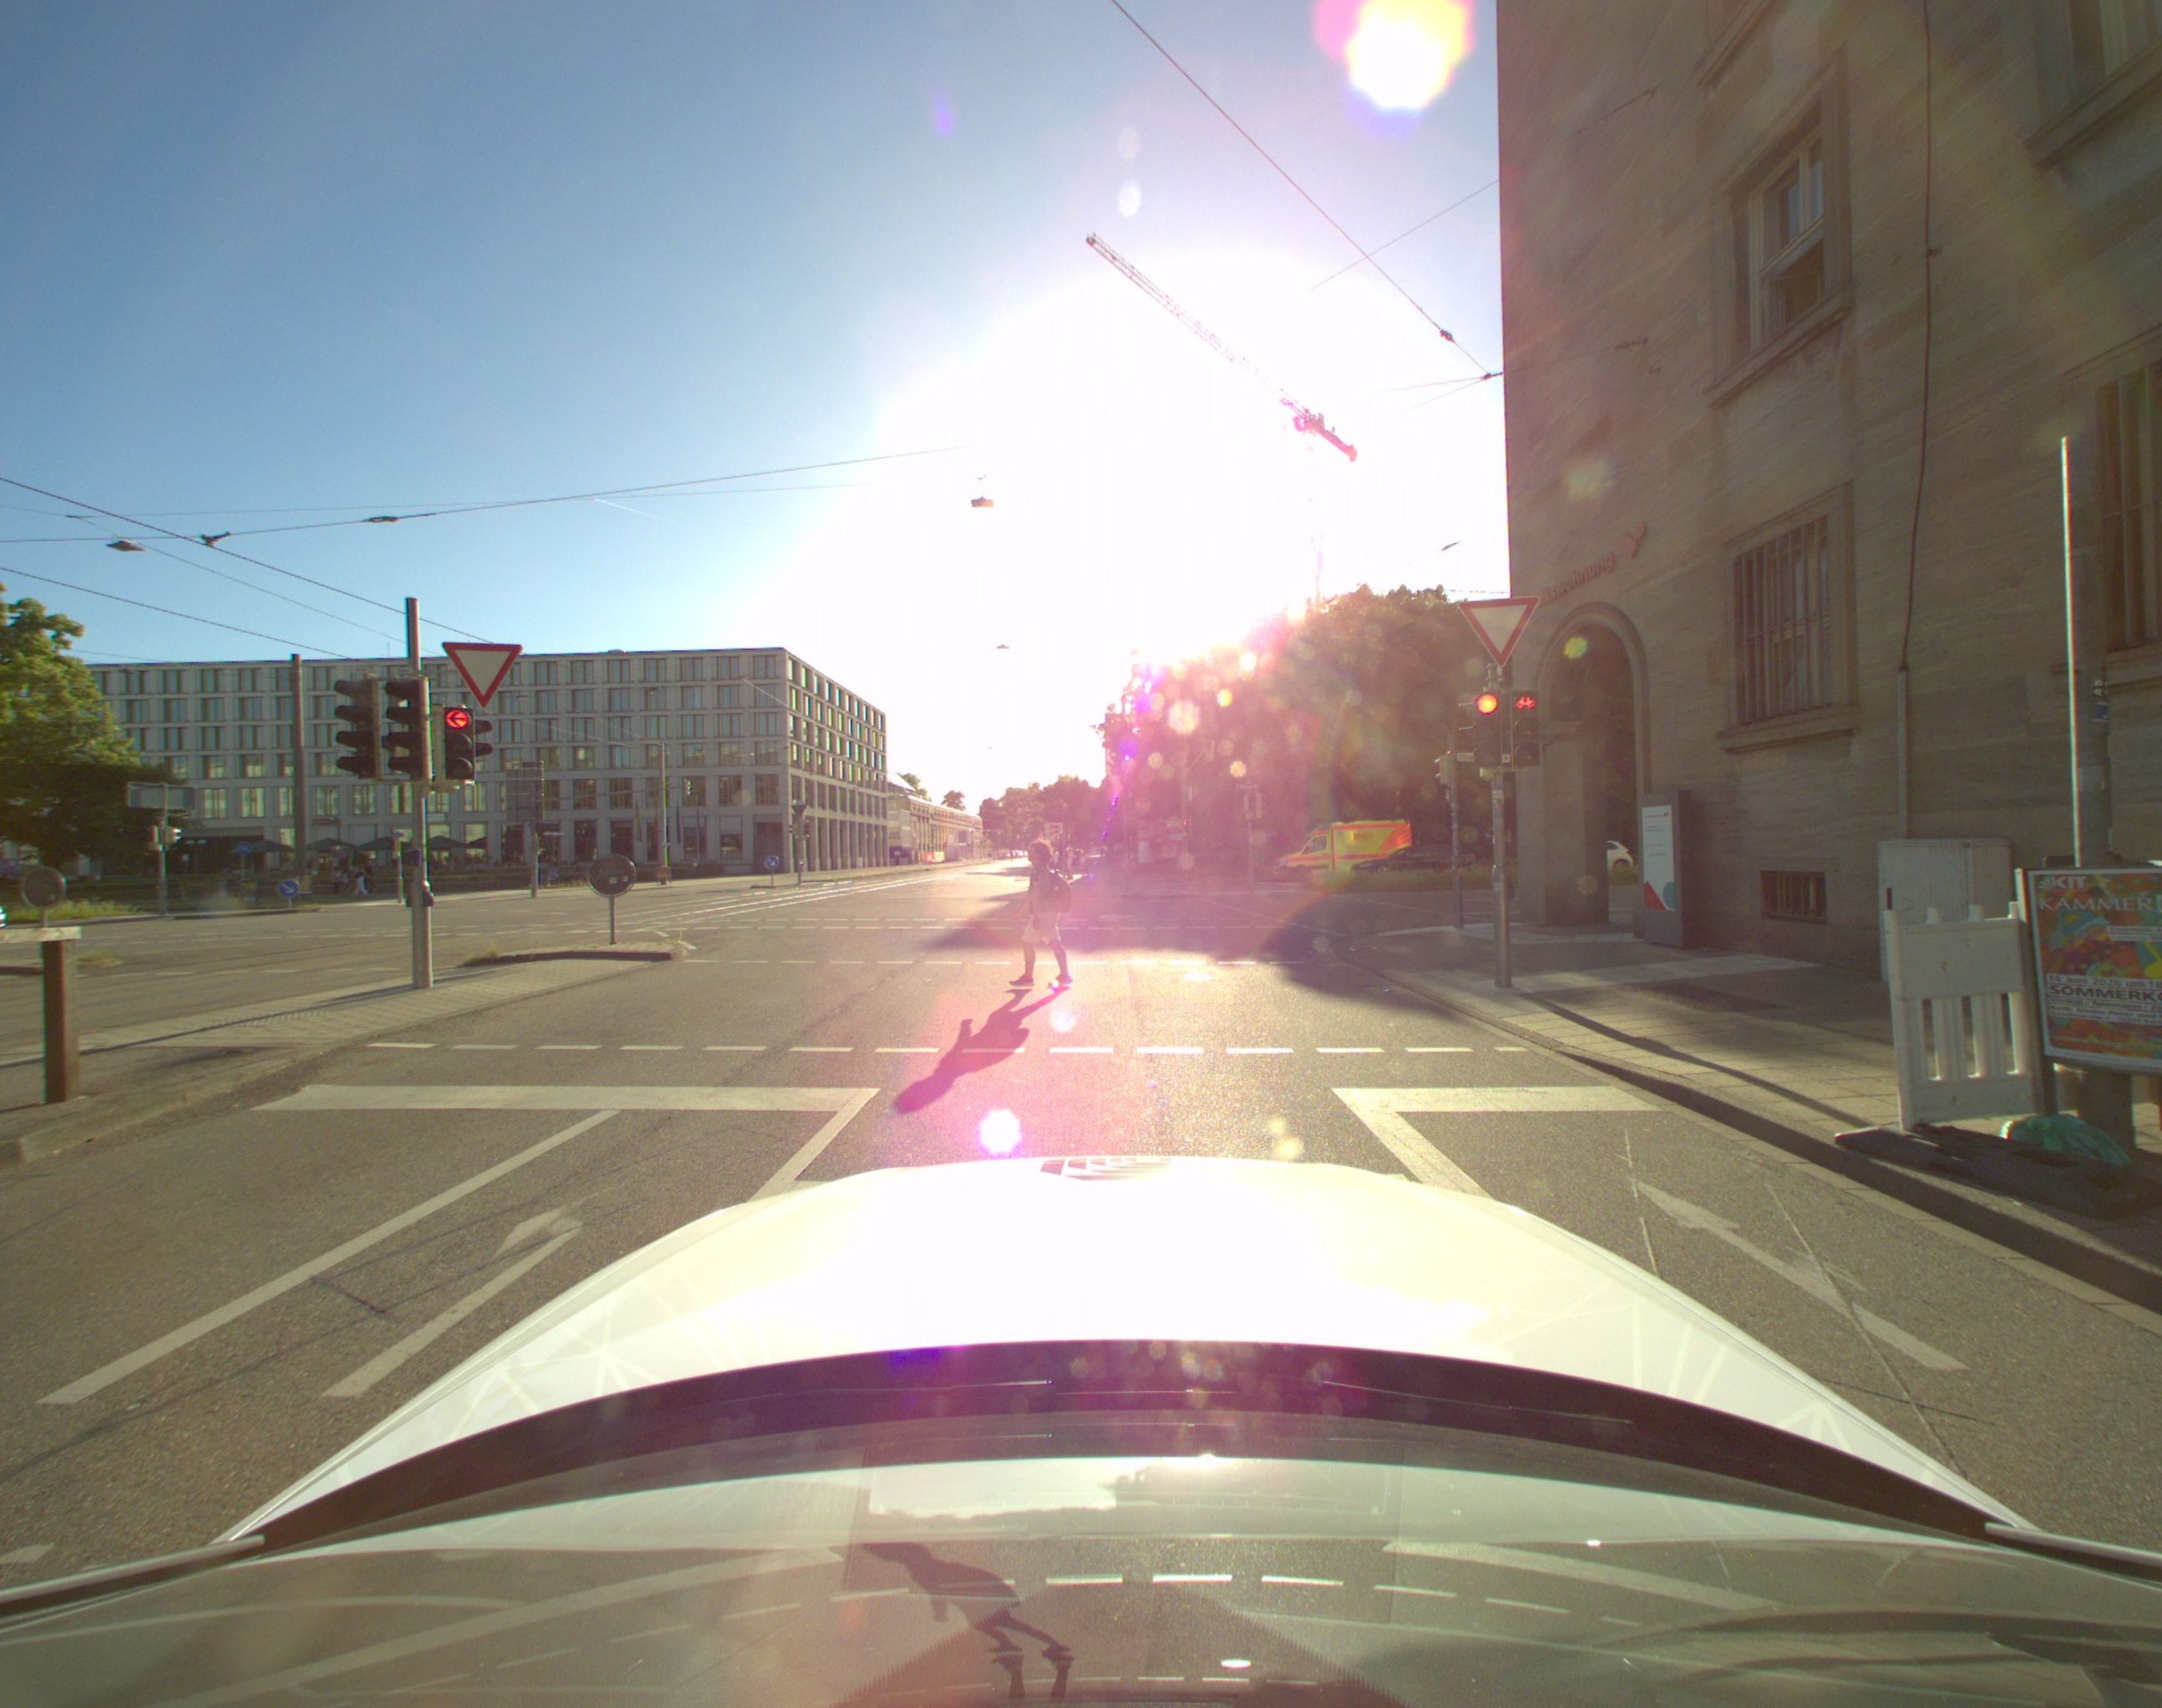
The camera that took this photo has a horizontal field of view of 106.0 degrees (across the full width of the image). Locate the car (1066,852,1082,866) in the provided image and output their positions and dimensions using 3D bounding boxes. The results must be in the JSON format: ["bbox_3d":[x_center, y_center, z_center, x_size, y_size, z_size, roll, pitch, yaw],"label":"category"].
[{"bbox_3d":[-0.802,0.581,92.369,1.678,1.501,3.510,0,-1,2],"label":"car"}]

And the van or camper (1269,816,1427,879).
[{"bbox_3d":[12.512,-0.273,38.664,6.674,2.862,2.915,0,-1,6],"label":"van or camper"}]

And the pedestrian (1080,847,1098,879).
[{"bbox_3d":[0.448,0.510,46.148,0.849,1.784,0.776,-2,0,-15],"label":"pedestrian"}]

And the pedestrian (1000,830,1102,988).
[{"bbox_3d":[-0.376,0.605,9.625,1.039,1.721,1.032,-2,0,-10],"label":"pedestrian"}]

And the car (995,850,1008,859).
[{"bbox_3d":[-15.274,0.078,156.780,1.812,1.712,3.807,-2,0,2],"label":"car"}]

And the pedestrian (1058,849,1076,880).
[{"bbox_3d":[-0.794,0.600,46.779,0.849,1.784,0.776,-2,0,-15],"label":"pedestrian"}]

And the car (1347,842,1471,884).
[{"bbox_3d":[13.171,0.378,32.919,4.297,1.647,1.889,0,-1,2],"label":"car"}]

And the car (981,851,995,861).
[{"bbox_3d":[-16.567,0.343,145.154,1.812,1.712,3.807,-2,0,2],"label":"car"}]

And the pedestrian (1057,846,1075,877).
[{"bbox_3d":[-0.905,0.449,47.600,0.849,1.784,0.776,-2,0,-15],"label":"pedestrian"}]

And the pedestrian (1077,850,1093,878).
[{"bbox_3d":[0.239,0.567,46.885,0.763,1.558,0.585,-2,0,-15],"label":"pedestrian"}]

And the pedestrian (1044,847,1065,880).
[{"bbox_3d":[-1.480,0.516,45.227,0.967,1.784,0.776,-2,0,-15],"label":"pedestrian"}]

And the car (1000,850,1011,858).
[{"bbox_3d":[-14.913,0.075,160.774,1.603,1.498,3.807,-2,0,2],"label":"car"}]

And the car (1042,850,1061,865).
[{"bbox_3d":[-2.925,0.344,82.259,1.678,1.501,3.510,0,-1,2],"label":"car"}]

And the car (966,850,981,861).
[{"bbox_3d":[-17.767,0.256,134.273,1.812,1.712,3.807,-2,0,2],"label":"car"}]

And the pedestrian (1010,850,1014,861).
[{"bbox_3d":[-9.567,0.192,113.185,0.522,1.484,0.437,0,-1,0],"label":"pedestrian"}]

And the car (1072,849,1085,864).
[{"bbox_3d":[-0.326,0.391,108.186,1.678,1.962,3.510,0,-1,2],"label":"car"}]

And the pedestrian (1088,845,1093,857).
[{"bbox_3d":[2.866,-1.042,246.354,1.396,3.597,1.568,0,-1,1],"label":"pedestrian"}]

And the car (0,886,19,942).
[{"bbox_3d":[-31.015,1.659,21.637,3.519,1.506,1.522,-1,0,-1],"label":"car"}]
